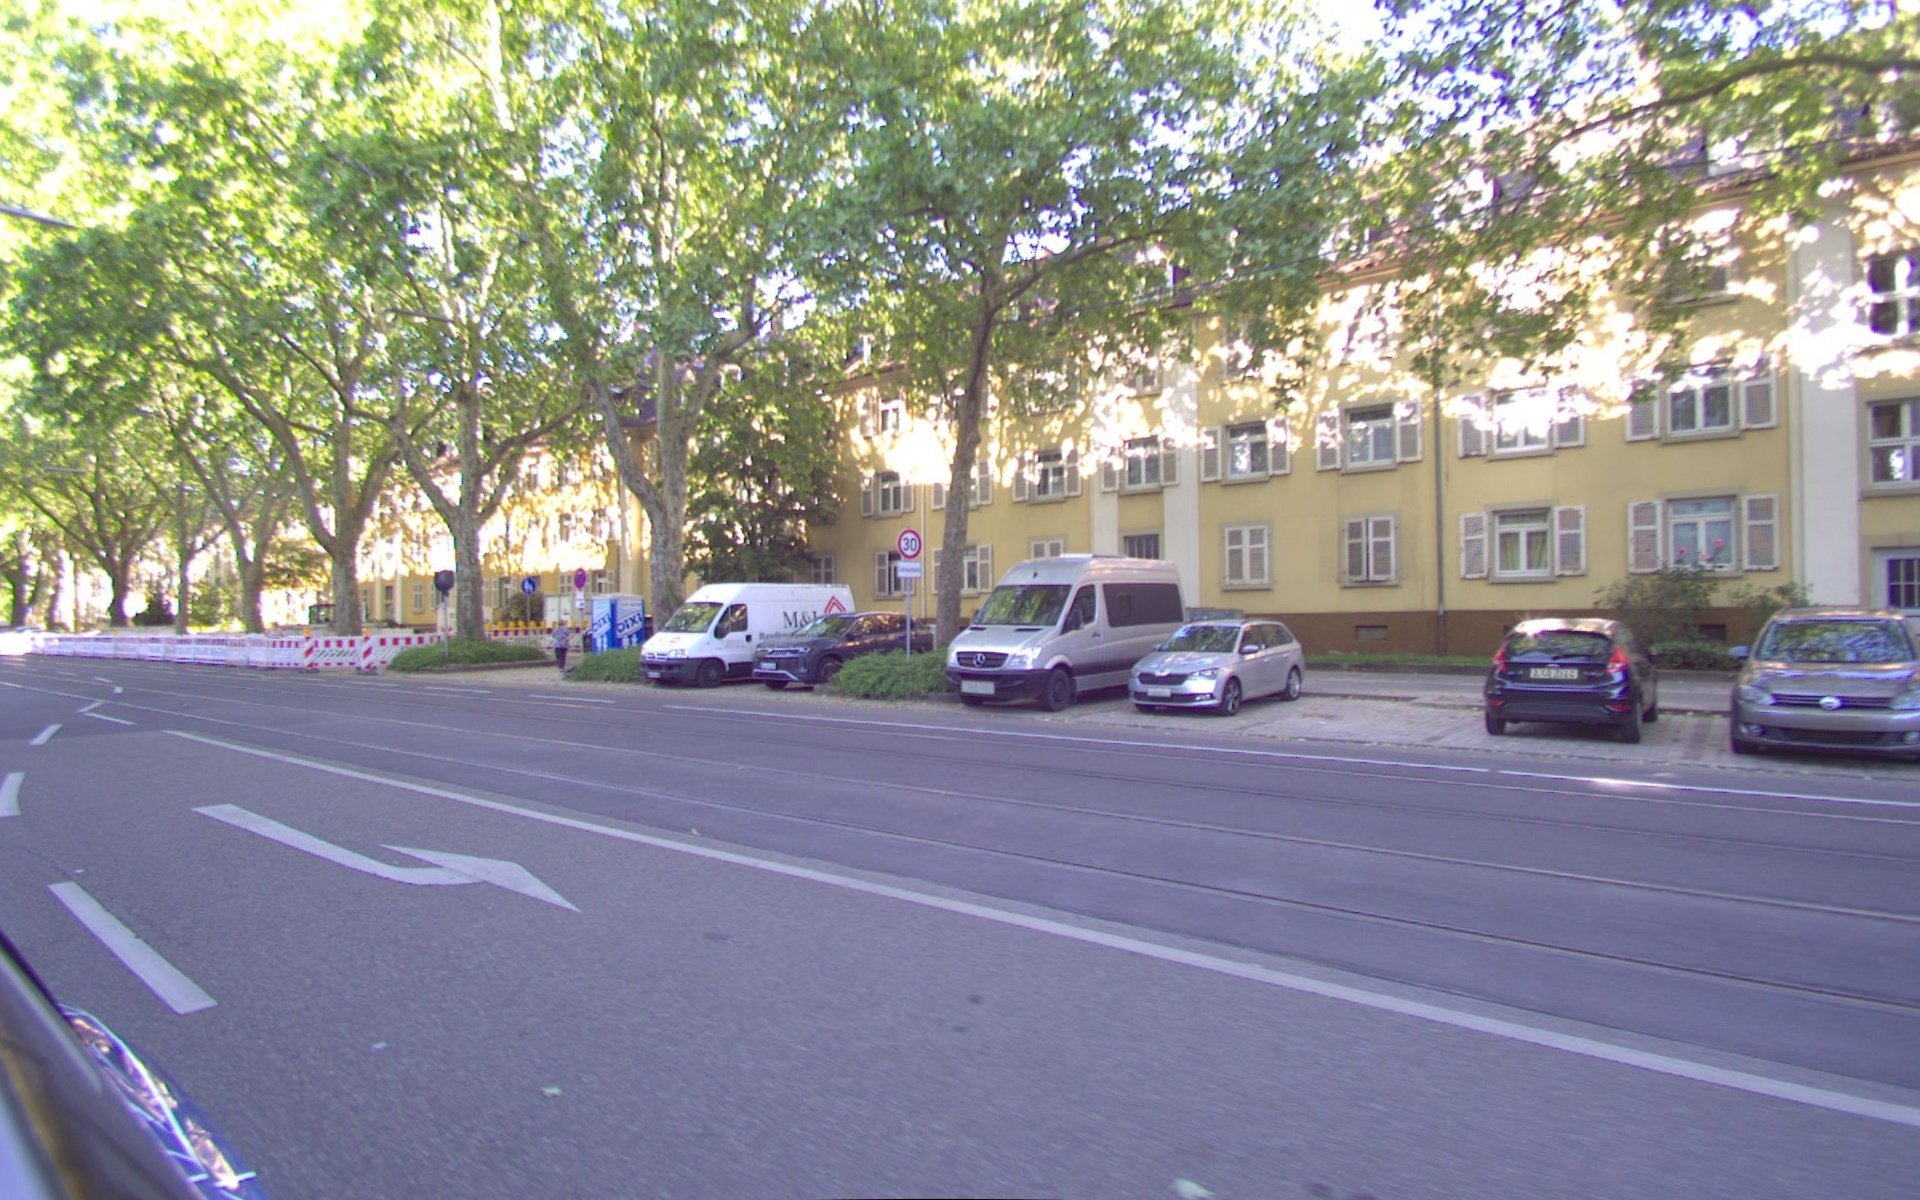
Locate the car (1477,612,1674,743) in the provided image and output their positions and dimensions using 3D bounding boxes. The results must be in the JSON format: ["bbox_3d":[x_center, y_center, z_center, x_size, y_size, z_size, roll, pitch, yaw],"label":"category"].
[{"bbox_3d":[8.192,0.910,13.340,1.741,1.440,3.528,-2,-1,39],"label":"car"}]

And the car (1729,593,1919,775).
[{"bbox_3d":[10.012,0.793,11.416,1.814,1.617,4.144,-2,0,41],"label":"car"}]

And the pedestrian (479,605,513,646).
[{"bbox_3d":[-23.488,1.291,51.207,1.233,2.029,1.085,-2,-2,36],"label":"pedestrian"}]

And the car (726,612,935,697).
[{"bbox_3d":[-2.755,1.124,22.442,1.967,1.643,4.519,-2,-1,38],"label":"car"}]

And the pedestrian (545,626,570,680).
[{"bbox_3d":[-12.033,1.560,30.256,0.586,1.585,0.719,0,-2,-32],"label":"pedestrian"}]

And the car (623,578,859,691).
[{"bbox_3d":[-5.099,0.795,24.373,2.023,2.393,5.542,-2,-2,39],"label":"car"}]

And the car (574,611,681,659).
[{"bbox_3d":[-12.276,1.283,37.235,4.219,1.613,1.806,-2,0,41],"label":"car"}]

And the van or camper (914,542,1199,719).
[{"bbox_3d":[1.998,0.468,18.536,2.227,2.697,6.051,-2,-1,39],"label":"van or camper"}]

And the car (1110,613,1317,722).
[{"bbox_3d":[4.342,1.014,16.940,1.729,1.481,4.102,0,1,40],"label":"car"}]
